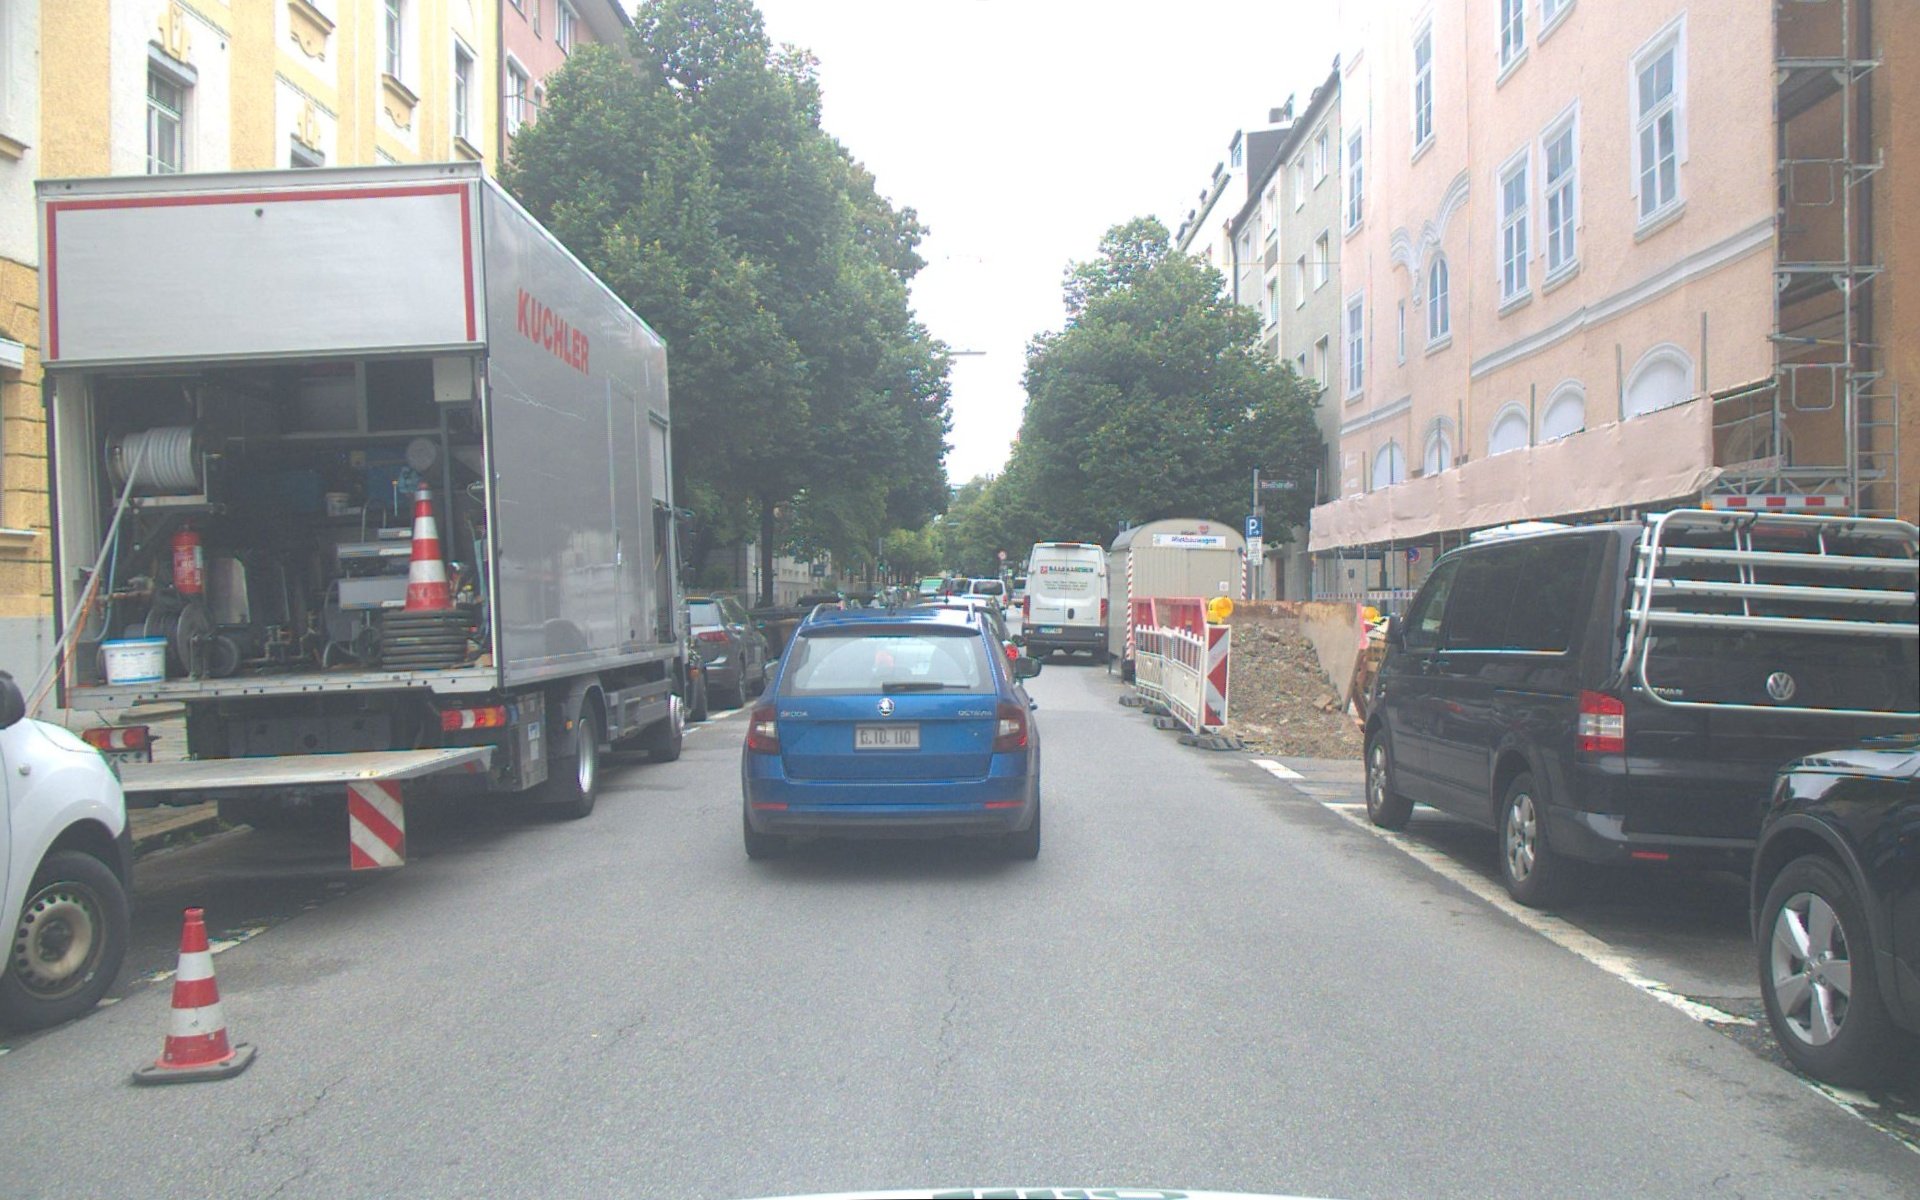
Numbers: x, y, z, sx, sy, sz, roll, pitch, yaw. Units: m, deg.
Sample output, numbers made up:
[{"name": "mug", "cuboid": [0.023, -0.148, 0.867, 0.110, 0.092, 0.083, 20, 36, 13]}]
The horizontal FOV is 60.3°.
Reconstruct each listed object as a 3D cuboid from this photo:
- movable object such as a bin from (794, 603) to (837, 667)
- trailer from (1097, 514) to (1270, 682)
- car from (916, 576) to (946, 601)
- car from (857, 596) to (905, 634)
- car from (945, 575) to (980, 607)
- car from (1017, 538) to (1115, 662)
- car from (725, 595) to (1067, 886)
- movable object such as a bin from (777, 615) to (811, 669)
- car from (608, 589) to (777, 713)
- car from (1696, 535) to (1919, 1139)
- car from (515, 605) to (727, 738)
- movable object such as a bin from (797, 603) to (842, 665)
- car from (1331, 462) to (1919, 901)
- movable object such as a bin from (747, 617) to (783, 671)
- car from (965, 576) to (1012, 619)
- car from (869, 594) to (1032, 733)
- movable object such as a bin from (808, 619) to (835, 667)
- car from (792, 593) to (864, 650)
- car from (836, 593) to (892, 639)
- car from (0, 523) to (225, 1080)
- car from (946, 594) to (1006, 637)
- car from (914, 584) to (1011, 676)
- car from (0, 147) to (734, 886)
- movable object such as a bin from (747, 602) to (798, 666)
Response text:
[{"name": "movable object such as a bin", "cuboid": [-3.318, 0.789, 38.096, 0.900, 1.400, 1.079, -2, 0, -4]}, {"name": "trailer", "cuboid": [4.172, -0.012, 32.218, 2.451, 2.889, 6.901, 1, 0, 0]}, {"name": "car", "cuboid": [-1.967, -0.785, 111.719, 1.967, 1.682, 4.346, 1, 1, -1]}, {"name": "car", "cuboid": [-3.238, 0.582, 68.690, 1.775, 1.504, 4.000, 0, 0, 0]}, {"name": "car", "cuboid": [0.161, -0.513, 91.178, 1.829, 1.682, 4.347, 1, 1, 0]}, {"name": "car", "cuboid": [2.600, 0.010, 39.310, 2.068, 2.710, 5.503, 1, 0, 6]}, {"name": "car", "cuboid": [-0.291, 0.727, 10.692, 1.752, 1.486, 4.315, -1, 0, 1]}, {"name": "movable object such as a bin", "cuboid": [-3.724, 0.946, 37.179, 0.697, 1.168, 0.636, -2, 0, -3]}, {"name": "car", "cuboid": [-3.905, 0.694, 24.782, 1.748, 1.657, 4.185, -1, 0, 1]}, {"name": "car", "cuboid": [3.546, 0.699, 3.932, 1.659, 1.706, 4.408, 3, 0, 1]}, {"name": "car", "cuboid": [-3.975, 0.789, 19.974, 1.664, 1.434, 3.709, -1, 0, 2]}, {"name": "movable object such as a bin", "cuboid": [-3.325, 0.801, 39.194, 1.000, 1.400, 1.103, -2, 0, -4]}, {"name": "car", "cuboid": [3.797, 0.472, 10.048, 2.039, 1.955, 5.140, 1, -2, 1]}, {"name": "movable object such as a bin", "cuboid": [-4.378, 0.973, 37.121, 0.706, 1.158, 0.658, -2, 0, -3]}, {"name": "car", "cuboid": [1.288, -0.123, 76.995, 1.830, 1.902, 4.344, 1, 1, -4]}, {"name": "car", "cuboid": [-0.033, 0.676, 19.280, 1.705, 1.446, 3.665, 1, 0, 2]}, {"name": "movable object such as a bin", "cuboid": [-3.118, 0.963, 37.242, 0.536, 1.038, 0.636, -2, 0, -3]}, {"name": "car", "cuboid": [-3.617, 0.569, 45.915, 1.775, 1.504, 3.999, 0, 0, -2]}, {"name": "car", "cuboid": [-3.260, 0.512, 56.648, 1.775, 1.504, 3.999, 0, 0, -2]}, {"name": "car", "cuboid": [-4.017, 0.683, 4.768, 1.726, 1.810, 4.327, -2, 0, 1]}, {"name": "car", "cuboid": [0.506, 0.509, 56.726, 1.830, 1.371, 4.345, 1, 1, -2]}, {"name": "car", "cuboid": [0.036, 0.547, 33.826, 1.829, 1.726, 4.347, 1, 1, 0]}, {"name": "car", "cuboid": [-3.786, -0.442, 13.118, 2.755, 3.884, 8.723, -1, 0, 0]}, {"name": "movable object such as a bin", "cuboid": [-4.295, 0.762, 38.009, 1.060, 1.400, 1.083, -2, 0, -4]}]
